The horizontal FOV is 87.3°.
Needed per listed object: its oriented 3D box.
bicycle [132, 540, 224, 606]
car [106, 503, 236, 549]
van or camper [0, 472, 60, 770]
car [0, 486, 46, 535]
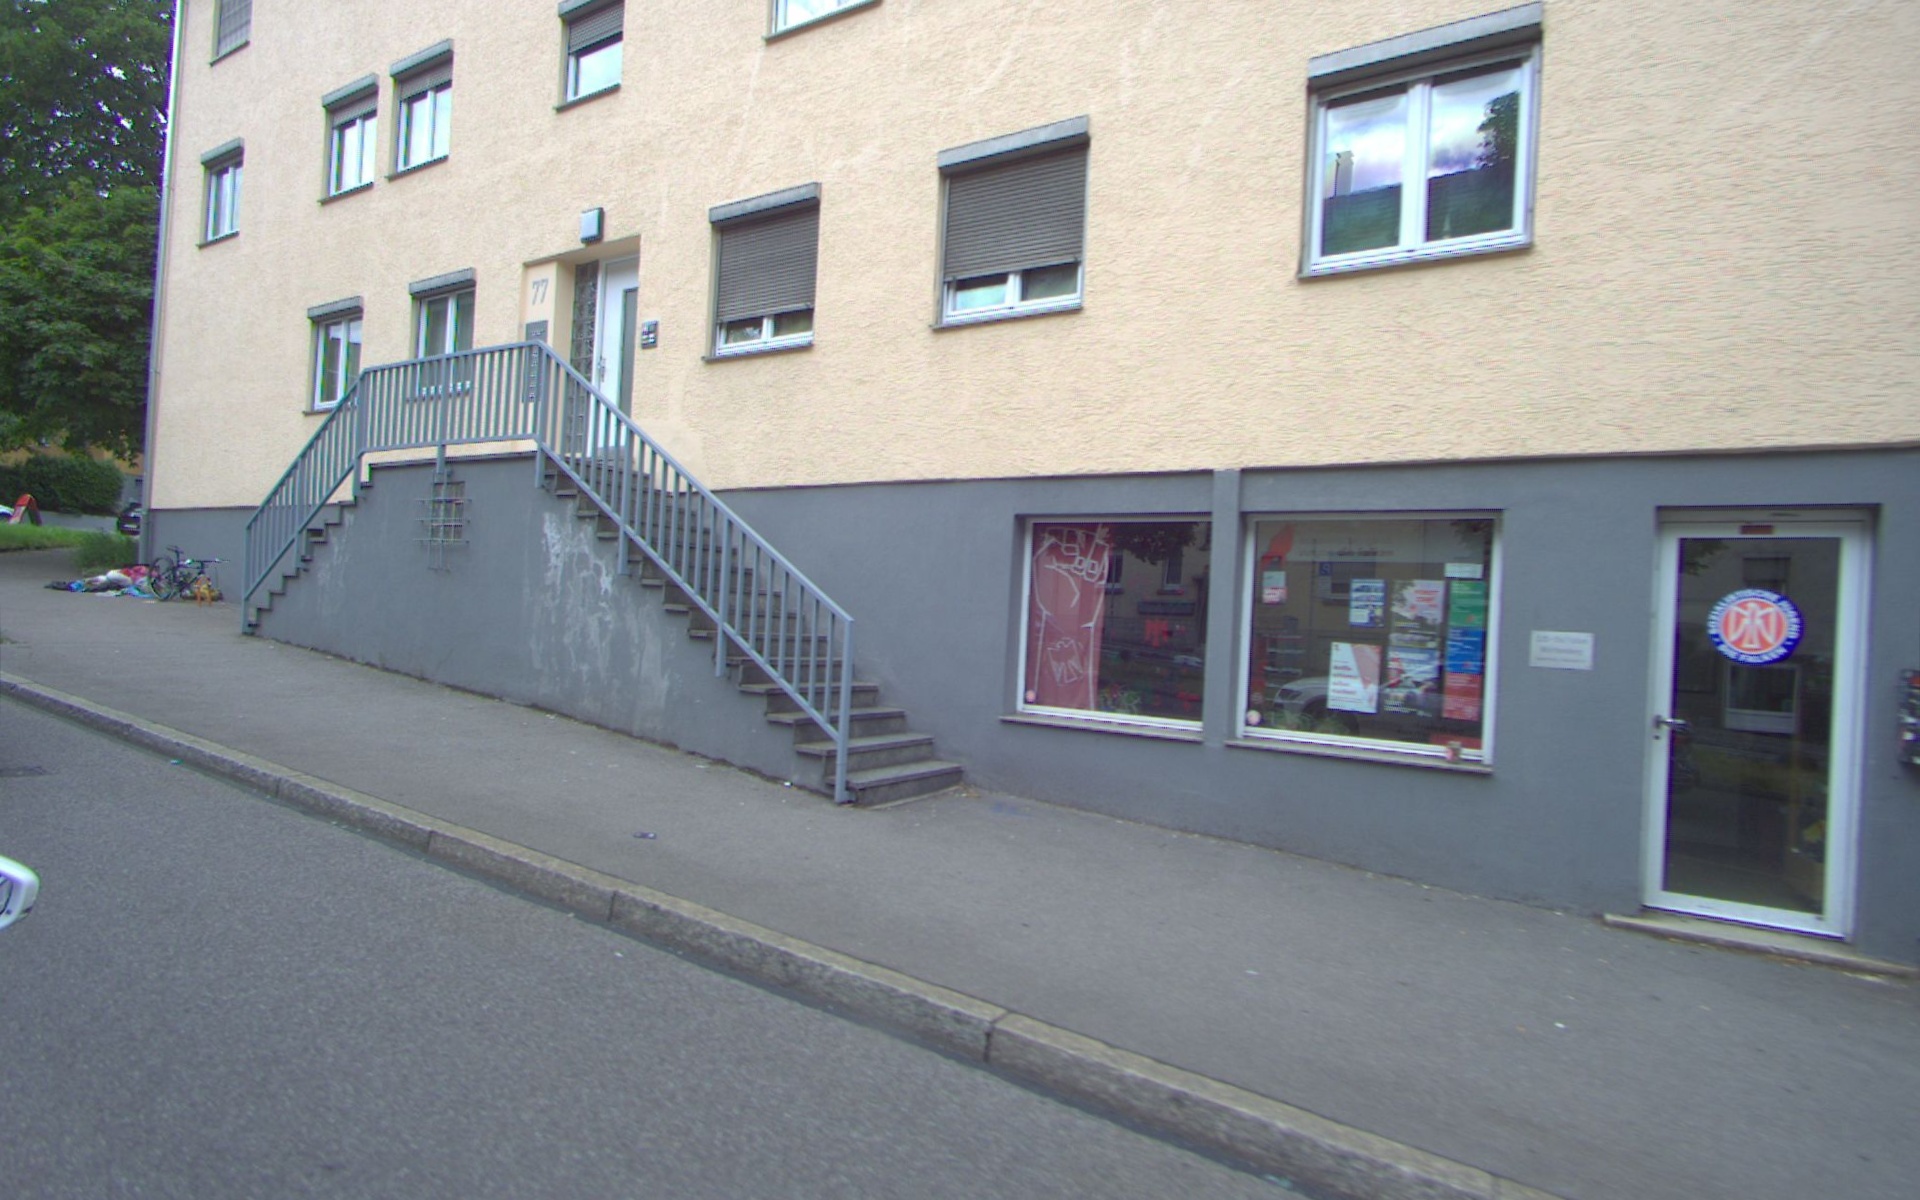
[{"bbox_3d":[-11.043,-0.390,14.195,1.532,0.783,0.488,6,1,32],"label":"bicycle"},{"bbox_3d":[-31.113,-2.880,39.812,1.704,1.447,4.129,4,1,3],"label":"car"},{"bbox_3d":[-7.017,-0.109,5.653,3.583,1.597,1.739,6,-1,29],"label":"van or camper"},{"bbox_3d":[-31.776,-3.024,31.579,1.828,1.447,4.128,7,1,18],"label":"car"}]
